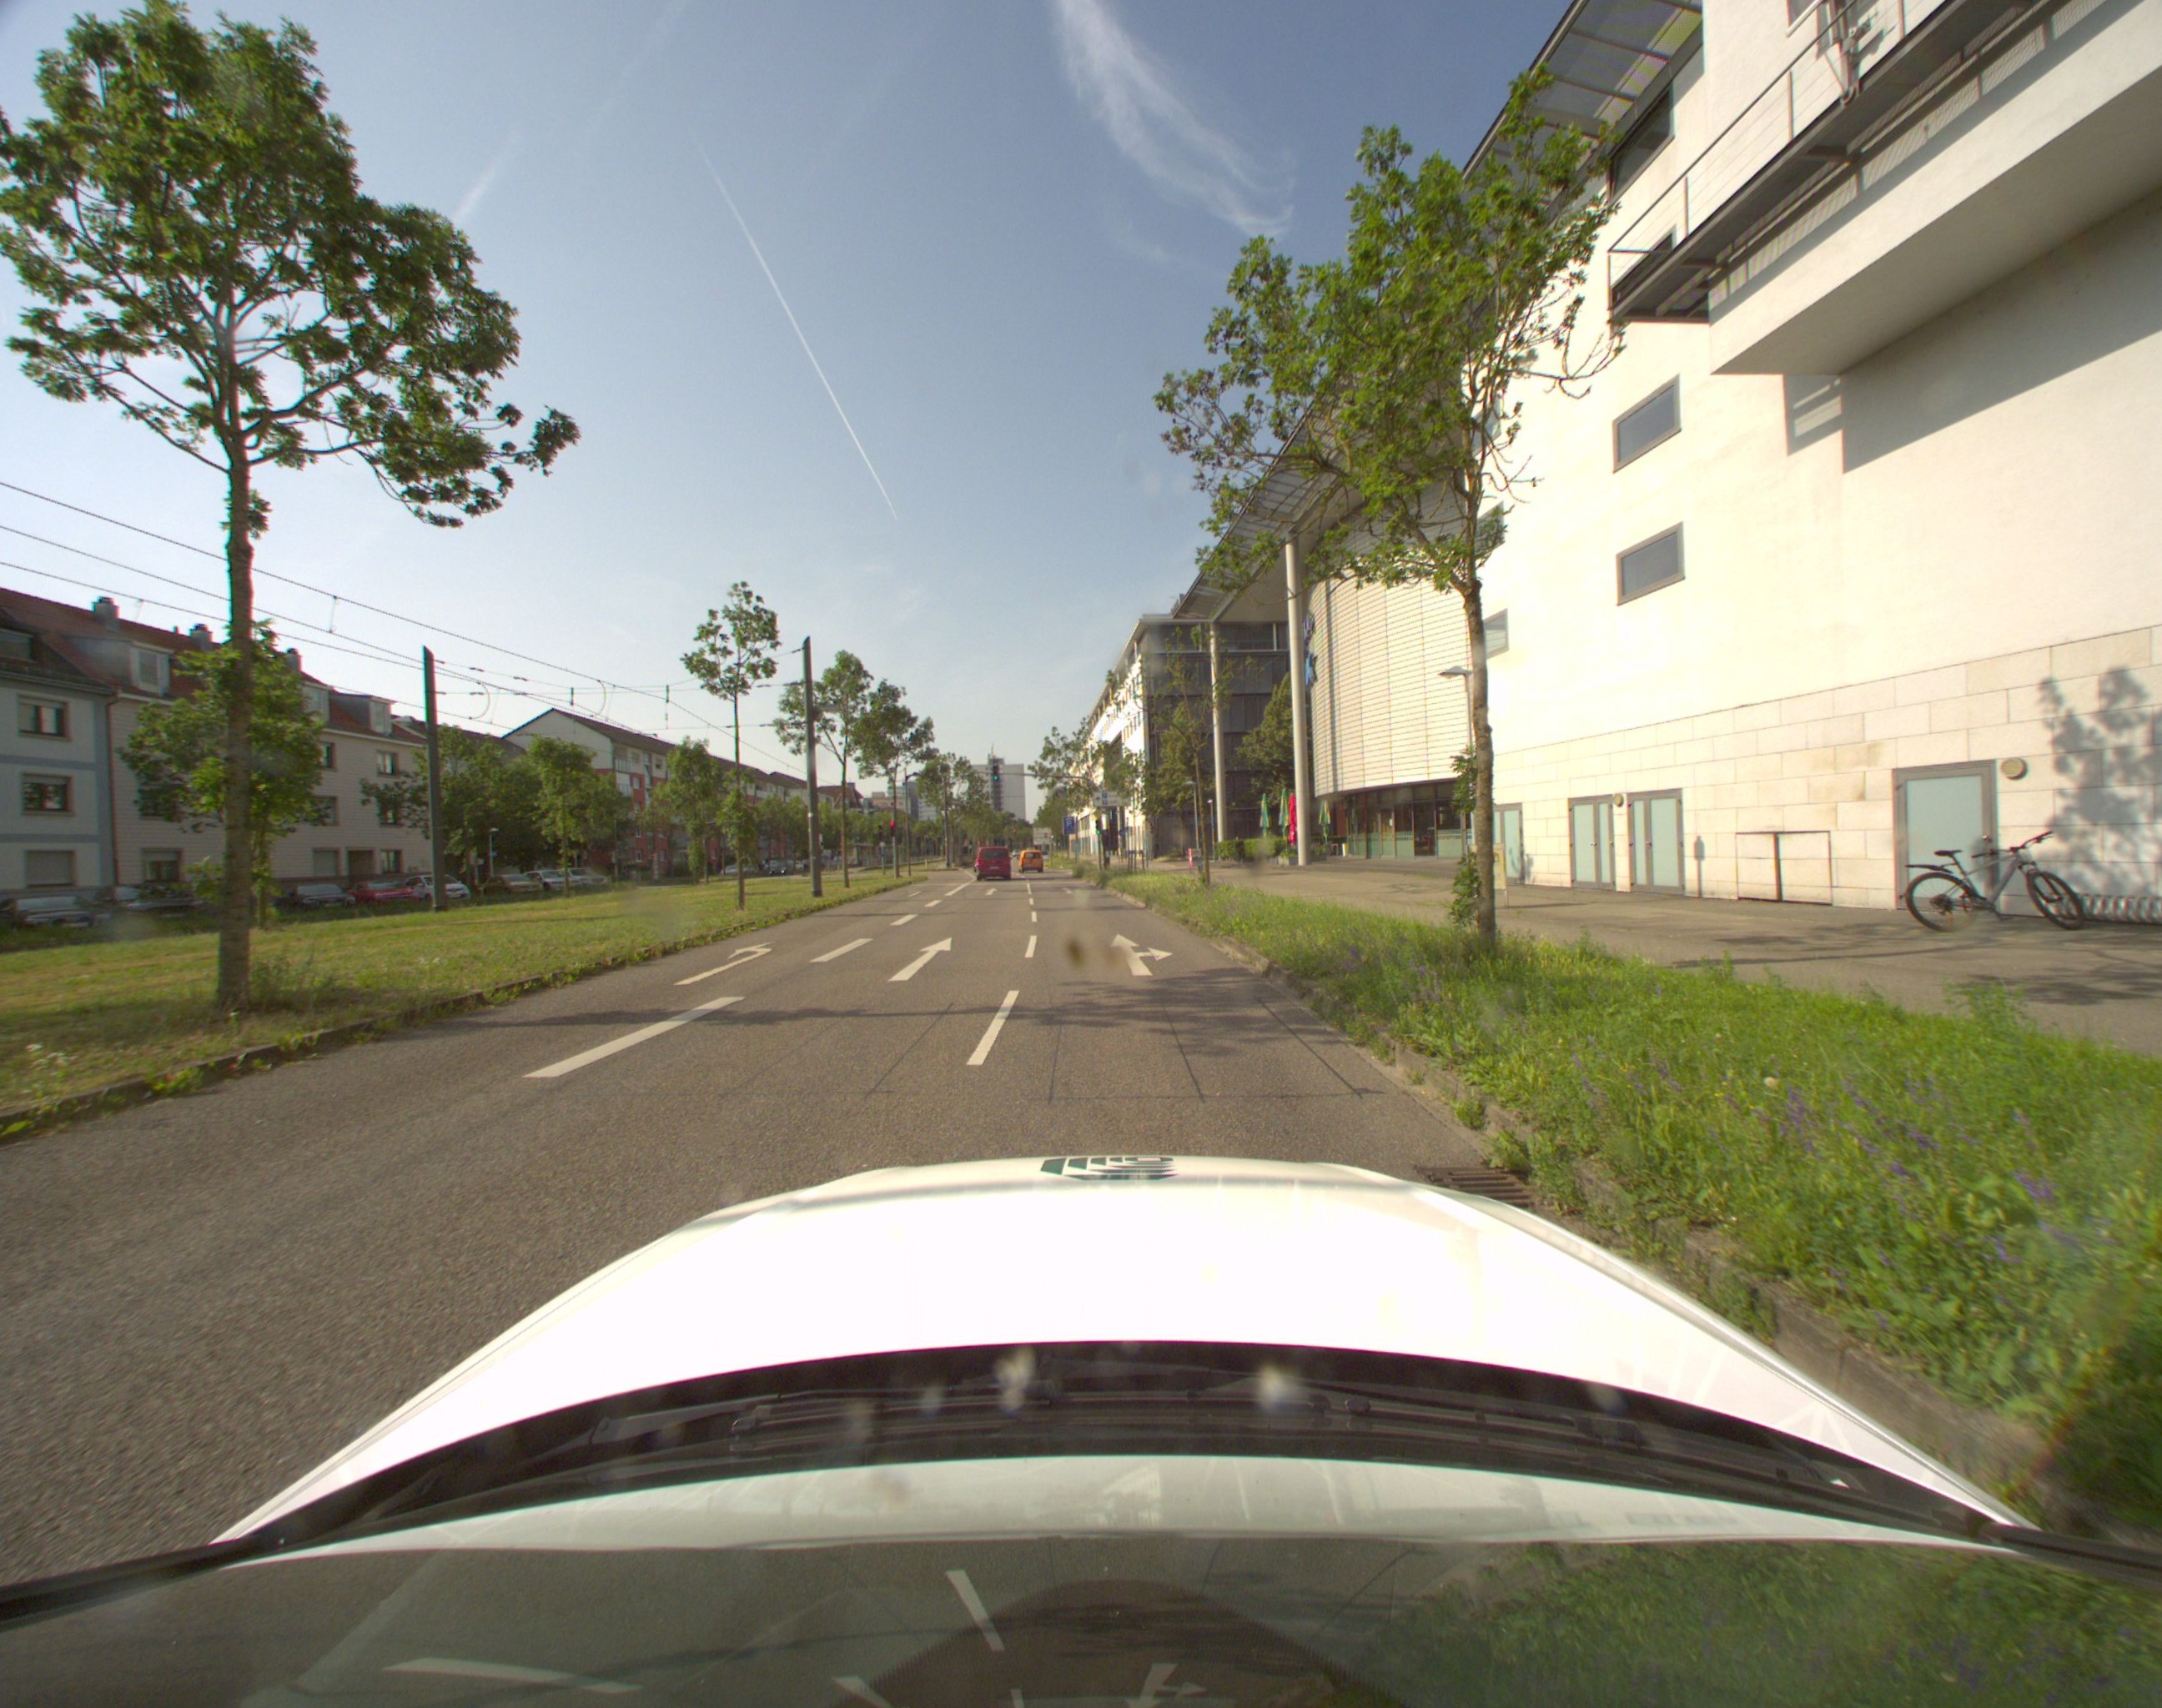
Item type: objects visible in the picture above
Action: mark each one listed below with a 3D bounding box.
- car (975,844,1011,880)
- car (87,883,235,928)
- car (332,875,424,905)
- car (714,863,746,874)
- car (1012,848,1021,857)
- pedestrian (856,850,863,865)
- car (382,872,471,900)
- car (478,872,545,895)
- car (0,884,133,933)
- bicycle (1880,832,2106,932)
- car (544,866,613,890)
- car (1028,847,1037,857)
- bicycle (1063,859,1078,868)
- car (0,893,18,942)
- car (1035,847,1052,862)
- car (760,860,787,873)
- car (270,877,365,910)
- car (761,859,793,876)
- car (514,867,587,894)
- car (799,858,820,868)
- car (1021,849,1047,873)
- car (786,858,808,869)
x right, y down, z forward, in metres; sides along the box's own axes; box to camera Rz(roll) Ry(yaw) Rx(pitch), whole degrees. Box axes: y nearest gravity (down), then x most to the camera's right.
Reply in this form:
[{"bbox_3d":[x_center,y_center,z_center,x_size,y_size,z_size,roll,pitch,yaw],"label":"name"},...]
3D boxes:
[{"bbox_3d":[-4.878,0.433,45.556,1.872,1.853,3.992,-2,0,-5],"label":"car"},{"bbox_3d":[-30.148,1.649,26.690,4.010,1.288,2.011,0,0,23],"label":"car"},{"bbox_3d":[-31.953,1.602,37.017,3.949,1.258,1.887,0,0,28],"label":"car"},{"bbox_3d":[-37.212,1.526,86.446,1.830,1.147,4.157,0,0,-5],"label":"car"},{"bbox_3d":[-13.992,-0.334,176.312,1.991,2.013,3.992,-2,0,-5],"label":"car"},{"bbox_3d":[-24.972,0.425,91.784,0.671,1.653,0.792,-2,0,-9],"label":"pedestrian"},{"bbox_3d":[-32.177,1.548,40.038,3.950,1.269,1.897,0,0,25],"label":"car"},{"bbox_3d":[-32.922,1.662,47.038,3.948,1.178,2.013,0,0,36],"label":"car"},{"bbox_3d":[-30.844,1.581,24.361,3.953,1.288,2.010,0,0,21],"label":"car"},{"bbox_3d":[11.145,0.330,9.994,2.002,1.102,0.675,-2,0,0],"label":"bicycle"},{"bbox_3d":[-32.879,1.567,53.258,4.298,1.463,1.975,0,0,29],"label":"car"},{"bbox_3d":[-10.615,-0.457,177.557,1.990,2.013,3.994,0,0,-4],"label":"car"},{"bbox_3d":[-0.989,0.900,73.951,1.266,0.632,0.521,-8,0,2],"label":"bicycle"},{"bbox_3d":[-30.765,1.774,21.627,3.953,1.288,2.011,-2,0,21],"label":"car"},{"bbox_3d":[-4.058,0.097,87.746,1.718,1.519,3.774,-2,0,-5],"label":"car"},{"bbox_3d":[-38.555,1.549,102.228,1.977,1.556,4.529,0,0,-5],"label":"car"},{"bbox_3d":[-31.592,1.591,33.670,3.949,1.235,1.710,0,0,29],"label":"car"},{"bbox_3d":[-33.790,1.466,90.762,1.989,1.706,4.707,-1,0,-3],"label":"car"},{"bbox_3d":[-32.350,1.619,49.659,4.407,1.514,2.013,-2,0,32],"label":"car"},{"bbox_3d":[-39.135,1.300,117.428,1.977,1.360,4.062,0,0,-5],"label":"car"},{"bbox_3d":[-3.555,0.517,61.832,1.872,1.696,3.968,-2,0,-4],"label":"car"},{"bbox_3d":[-39.083,1.295,112.089,1.977,1.360,4.062,0,0,-5],"label":"car"}]
